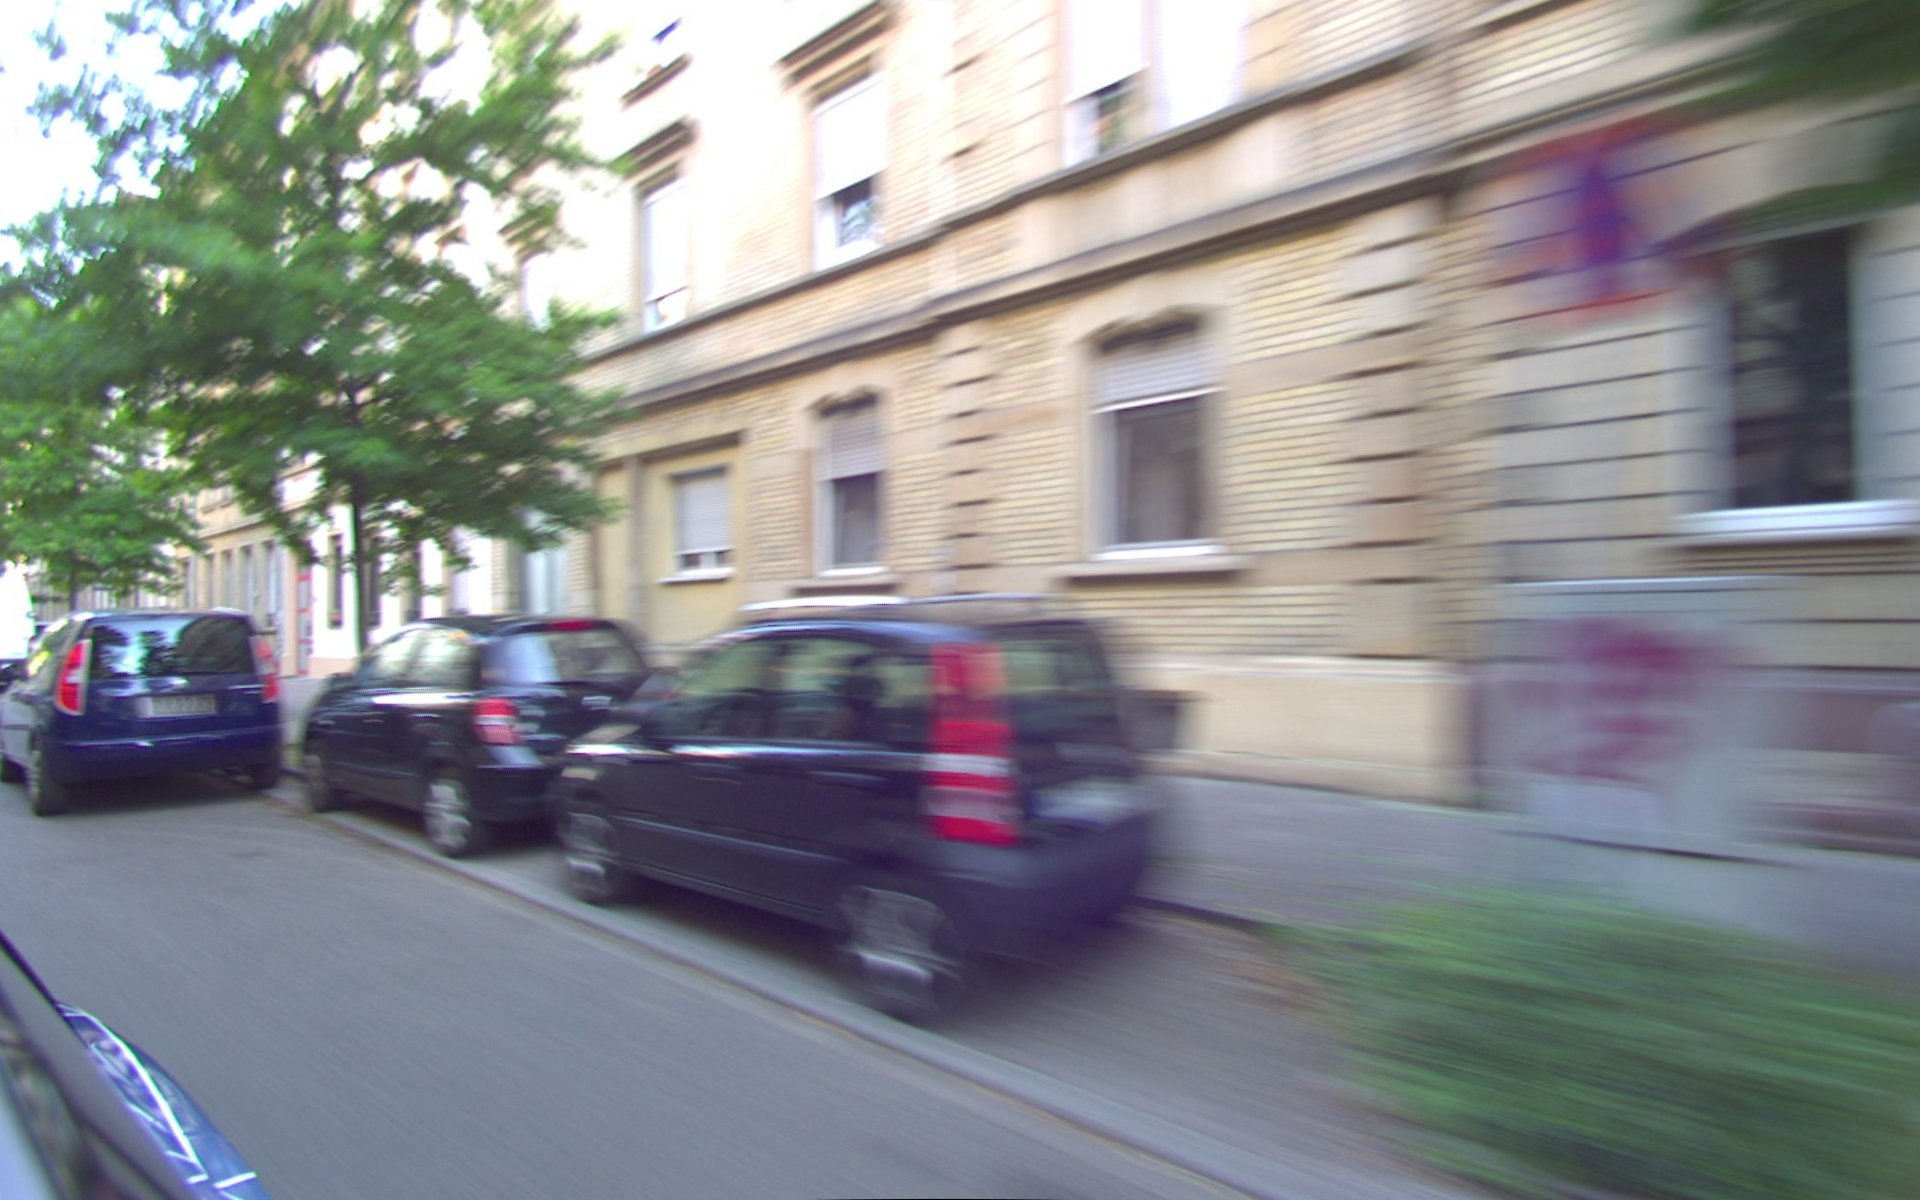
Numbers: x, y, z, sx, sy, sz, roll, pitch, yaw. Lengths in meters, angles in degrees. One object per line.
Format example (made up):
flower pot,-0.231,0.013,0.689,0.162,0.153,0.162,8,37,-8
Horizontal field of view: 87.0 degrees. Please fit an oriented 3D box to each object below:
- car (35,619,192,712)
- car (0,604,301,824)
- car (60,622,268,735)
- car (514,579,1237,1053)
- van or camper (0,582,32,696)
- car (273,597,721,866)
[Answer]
car,-15.808,1.140,18.824,4.112,1.521,1.666,-2,-1,42
car,-7.730,0.873,9.371,4.218,1.585,1.705,-2,-2,42
car,-12.334,1.107,15.584,4.256,1.473,1.749,-2,-1,41
car,-0.639,0.710,4.996,3.560,1.513,1.503,-1,0,42
van or camper,-23.083,0.886,23.154,5.659,2.449,2.196,-2,-2,42
car,-3.625,0.782,7.640,3.710,1.513,1.674,-1,0,41
